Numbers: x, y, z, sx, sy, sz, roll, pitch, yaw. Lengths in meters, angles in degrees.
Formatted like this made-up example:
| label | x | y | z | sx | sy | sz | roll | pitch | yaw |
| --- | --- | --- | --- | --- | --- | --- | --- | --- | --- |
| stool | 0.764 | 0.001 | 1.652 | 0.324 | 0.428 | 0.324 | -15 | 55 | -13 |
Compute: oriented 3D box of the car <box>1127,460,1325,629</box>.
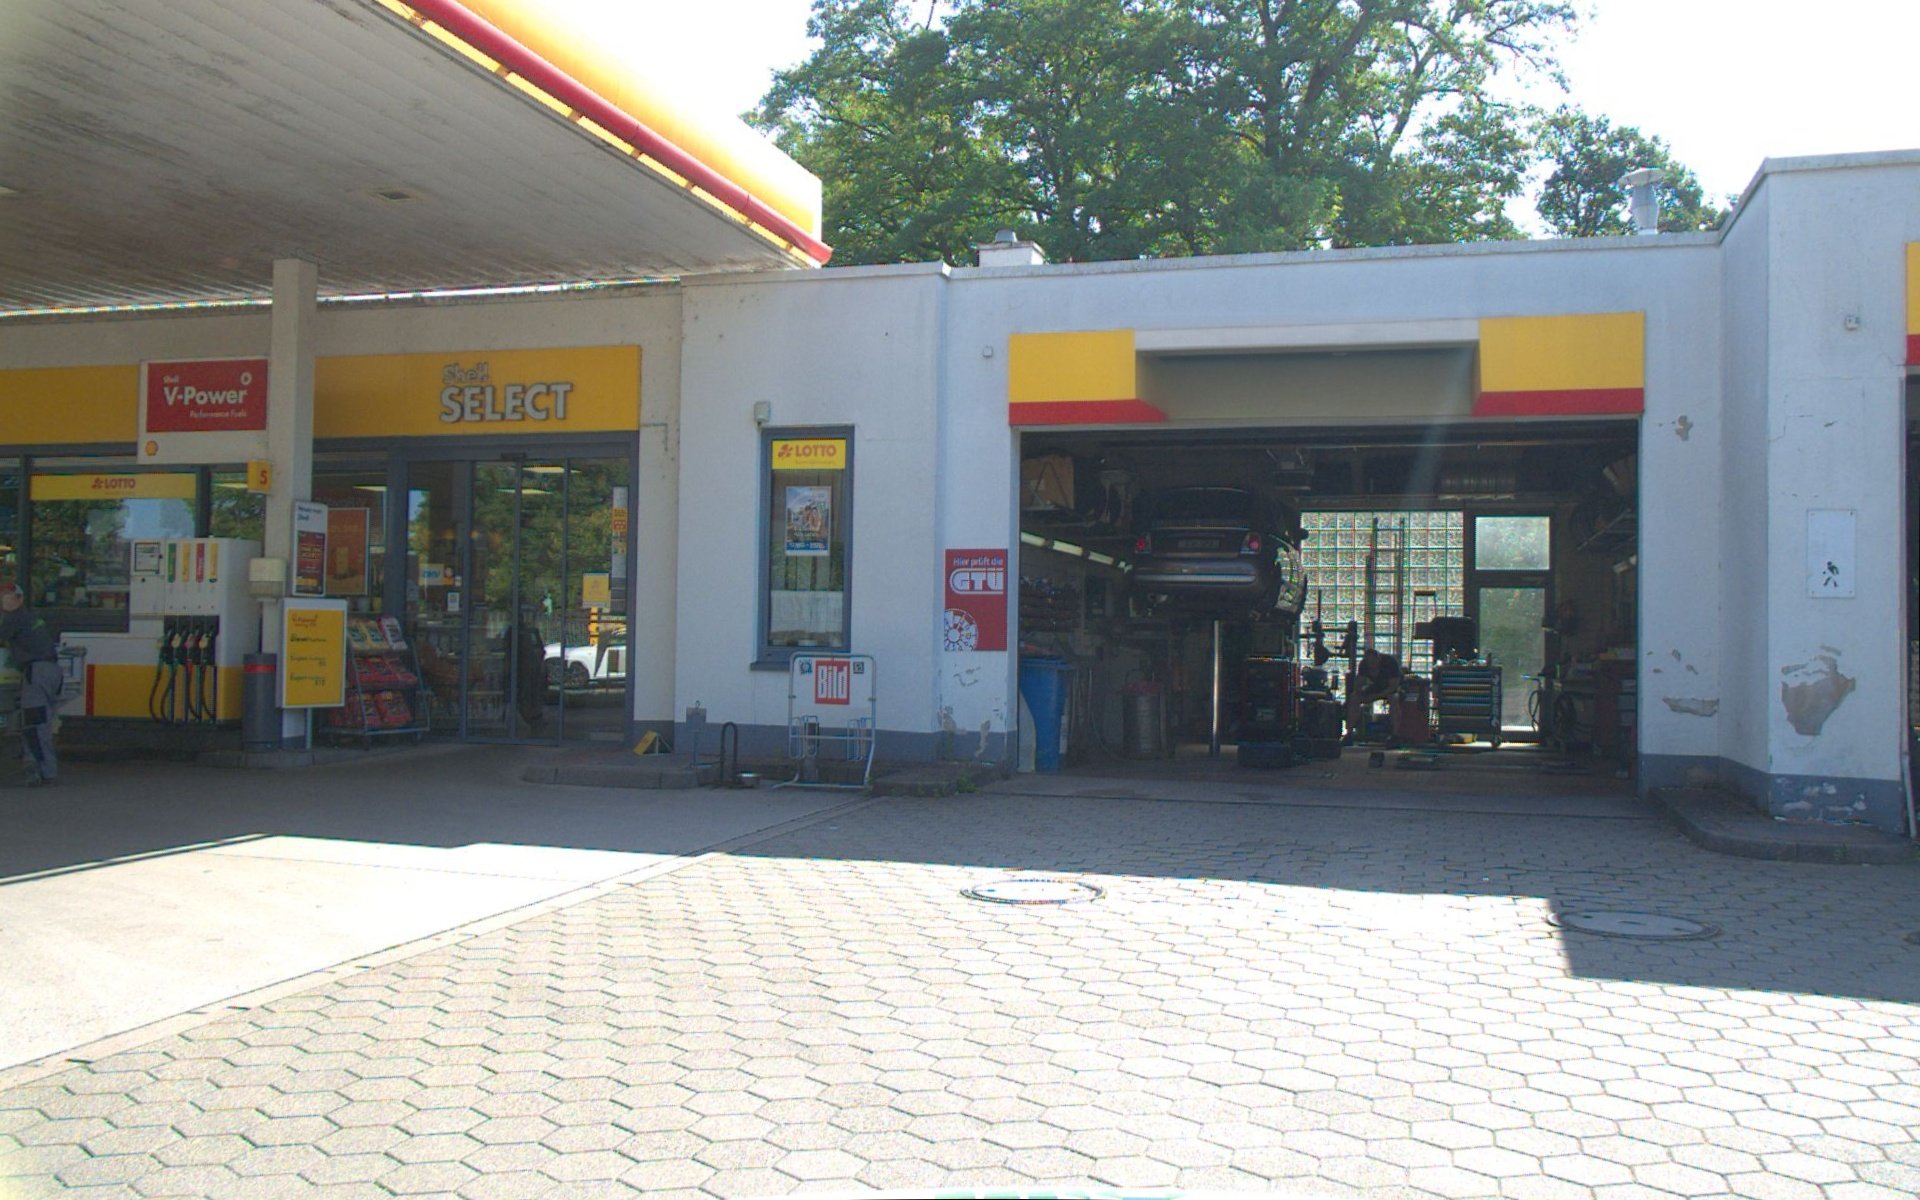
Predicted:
| label | x | y | z | sx | sy | sz | roll | pitch | yaw |
| --- | --- | --- | --- | --- | --- | --- | --- | --- | --- |
| car | 3.100 | -0.516 | 18.656 | 1.612 | 1.512 | 4.001 | 0 | -4 | 18 |

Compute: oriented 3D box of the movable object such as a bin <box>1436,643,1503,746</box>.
| label | x | y | z | sx | sy | sz | roll | pitch | yaw |
| --- | --- | --- | --- | --- | --- | --- | --- | --- | --- |
| movable object such as a bin | 6.339 | 1.175 | 20.569 | 0.780 | 1.258 | 0.544 | 0 | -4 | 18 |

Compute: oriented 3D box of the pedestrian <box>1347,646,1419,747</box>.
| label | x | y | z | sx | sy | sz | roll | pitch | yaw |
| --- | --- | --- | --- | --- | --- | --- | --- | --- | --- |
| pedestrian | 5.249 | 1.190 | 20.518 | 0.845 | 1.219 | 0.743 | 0 | -4 | 15 |

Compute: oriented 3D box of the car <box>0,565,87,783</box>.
| label | x | y | z | sx | sy | sz | roll | pitch | yaw |
| --- | --- | --- | --- | --- | --- | --- | --- | --- | --- |
| car | -9.610 | 0.614 | 13.934 | 3.904 | 1.758 | 1.834 | -1 | -2 | 20 |

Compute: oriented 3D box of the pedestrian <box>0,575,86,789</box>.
| label | x | y | z | sx | sy | sz | roll | pitch | yaw |
| --- | --- | --- | --- | --- | --- | --- | --- | --- | --- |
| pedestrian | -7.483 | 0.653 | 13.386 | 0.488 | 1.698 | 0.476 | 0 | -2 | 17 |
